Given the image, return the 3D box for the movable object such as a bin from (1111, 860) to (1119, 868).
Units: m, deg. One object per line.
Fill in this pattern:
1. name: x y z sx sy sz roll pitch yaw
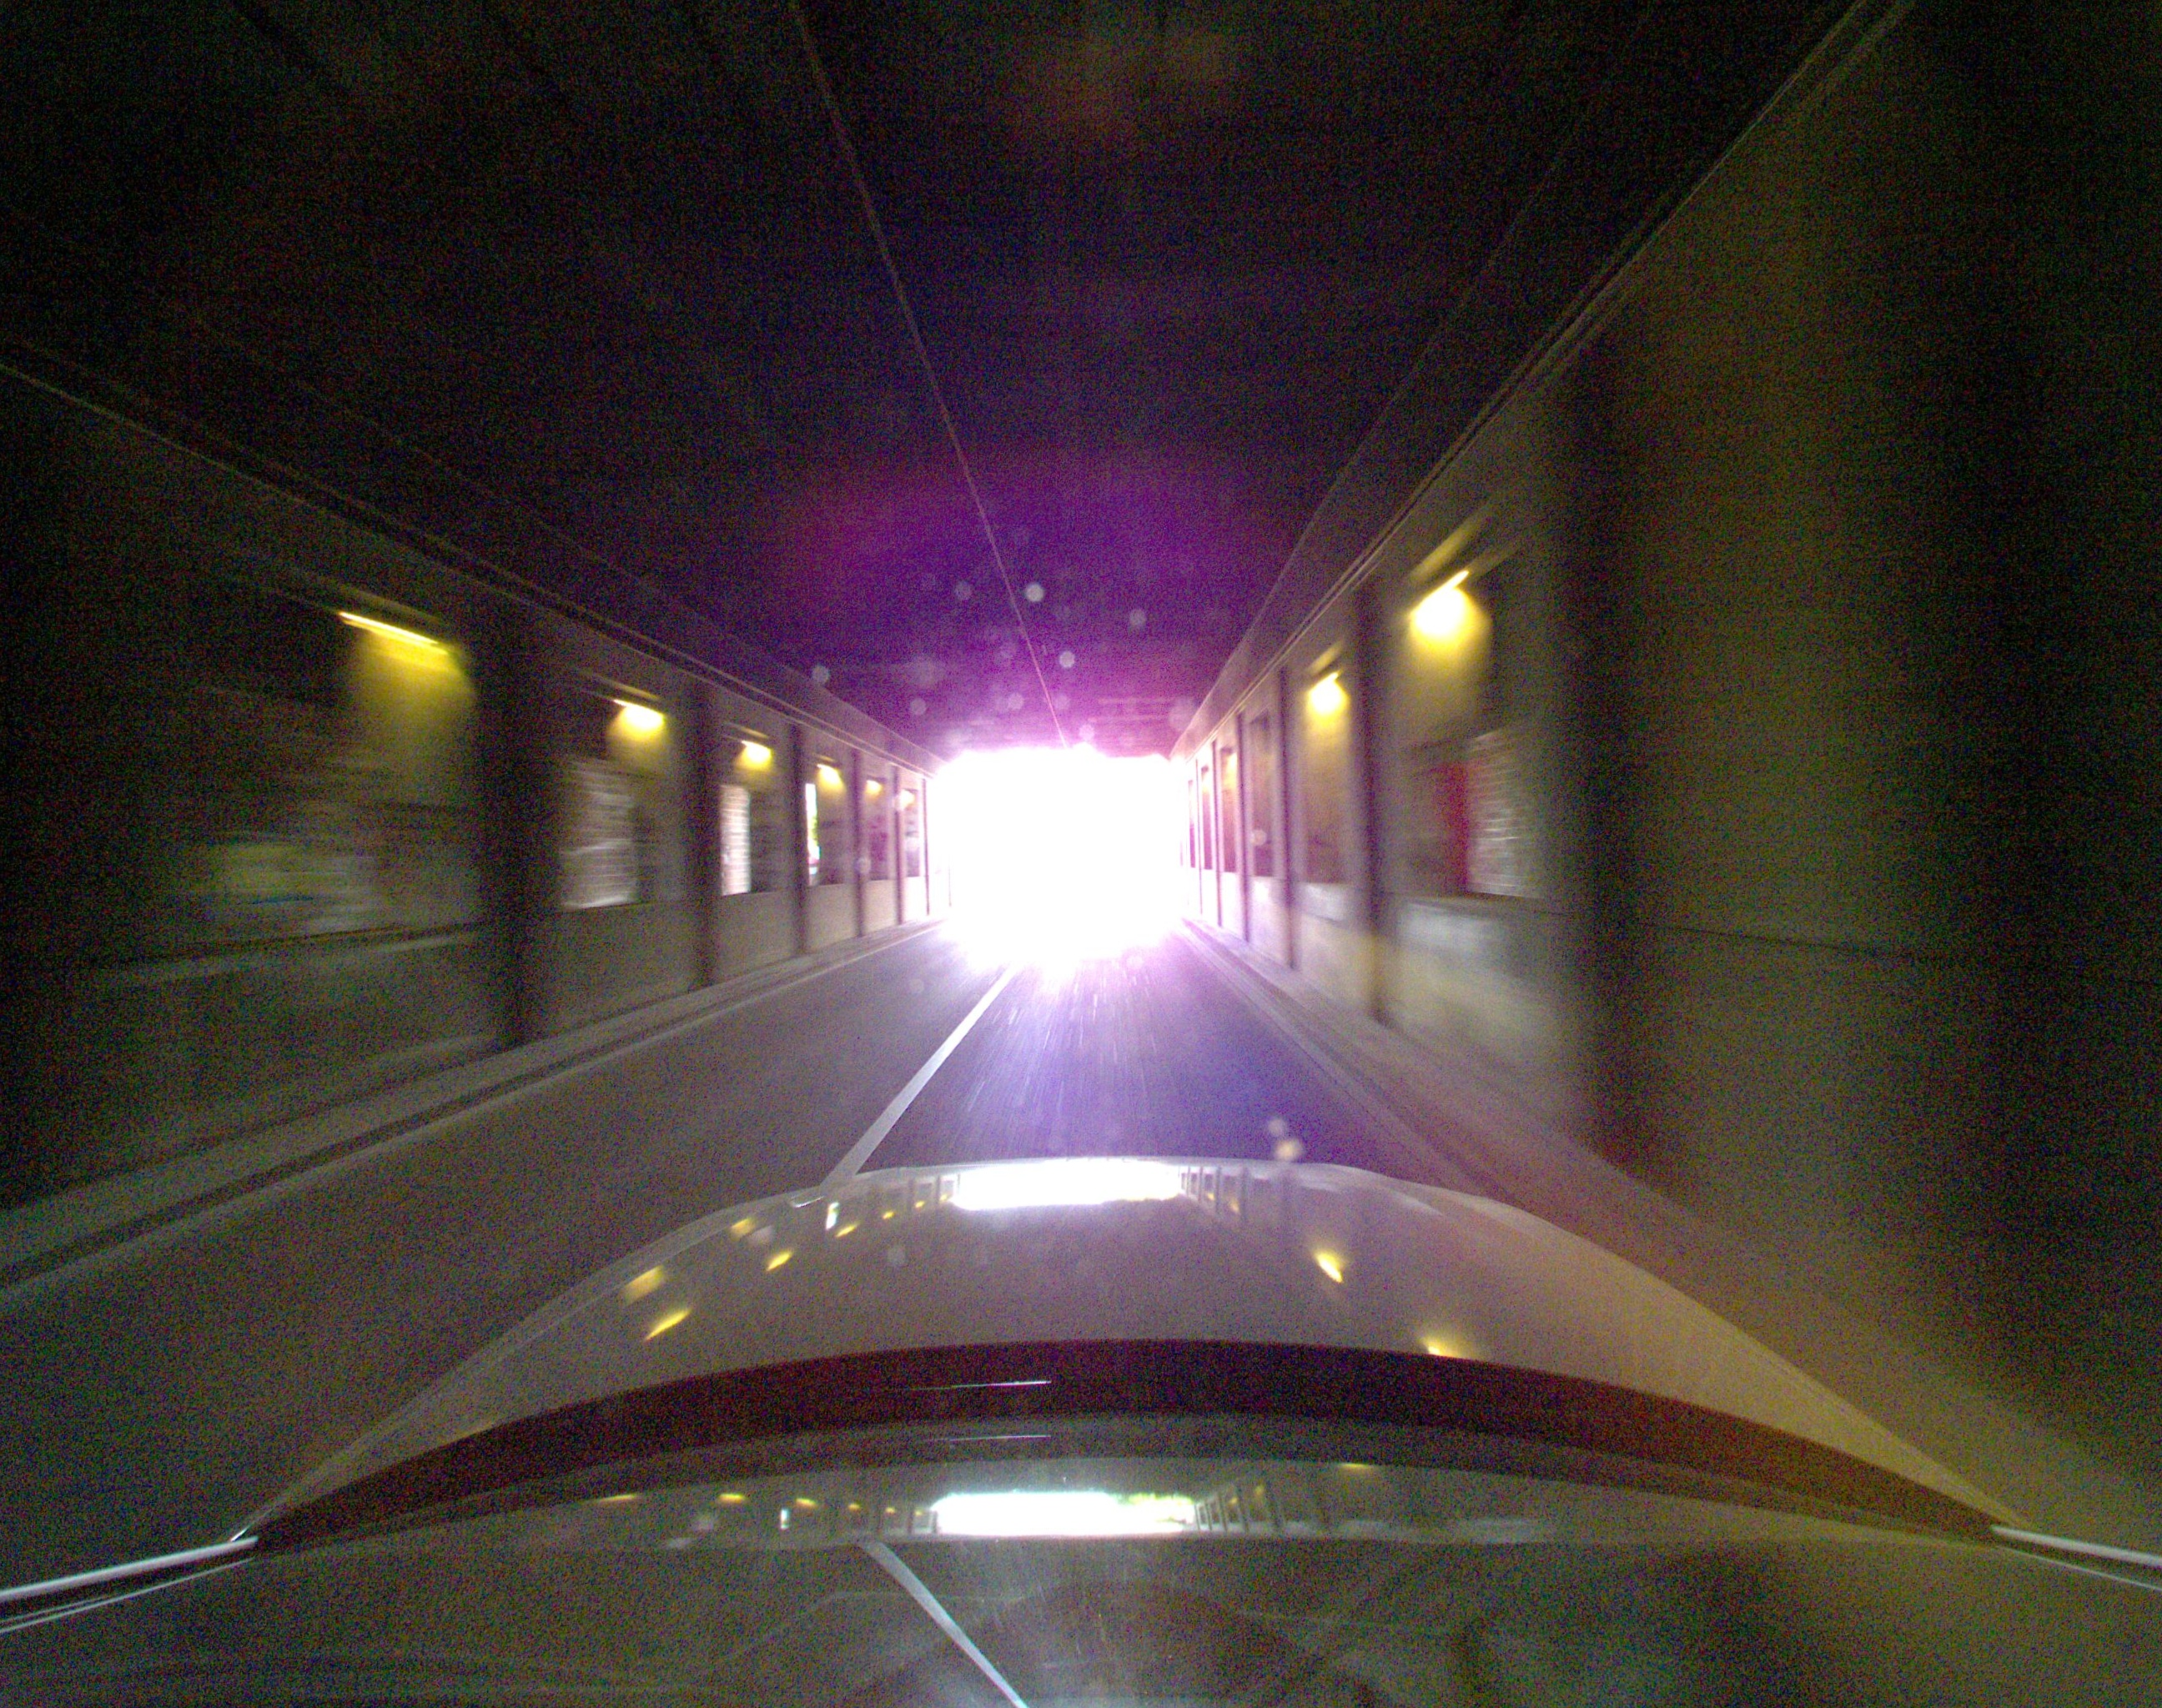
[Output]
1. movable object such as a bin: 6.280 1.920 151.501 1.363 1.418 1.063 0 -1 -6

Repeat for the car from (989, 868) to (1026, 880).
1. car: -8.978 2.440 99.678 4.170 1.490 1.888 -1 -2 28

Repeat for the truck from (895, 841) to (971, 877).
1. truck: -17.559 0.675 96.103 9.214 3.884 2.728 -3 -2 30
